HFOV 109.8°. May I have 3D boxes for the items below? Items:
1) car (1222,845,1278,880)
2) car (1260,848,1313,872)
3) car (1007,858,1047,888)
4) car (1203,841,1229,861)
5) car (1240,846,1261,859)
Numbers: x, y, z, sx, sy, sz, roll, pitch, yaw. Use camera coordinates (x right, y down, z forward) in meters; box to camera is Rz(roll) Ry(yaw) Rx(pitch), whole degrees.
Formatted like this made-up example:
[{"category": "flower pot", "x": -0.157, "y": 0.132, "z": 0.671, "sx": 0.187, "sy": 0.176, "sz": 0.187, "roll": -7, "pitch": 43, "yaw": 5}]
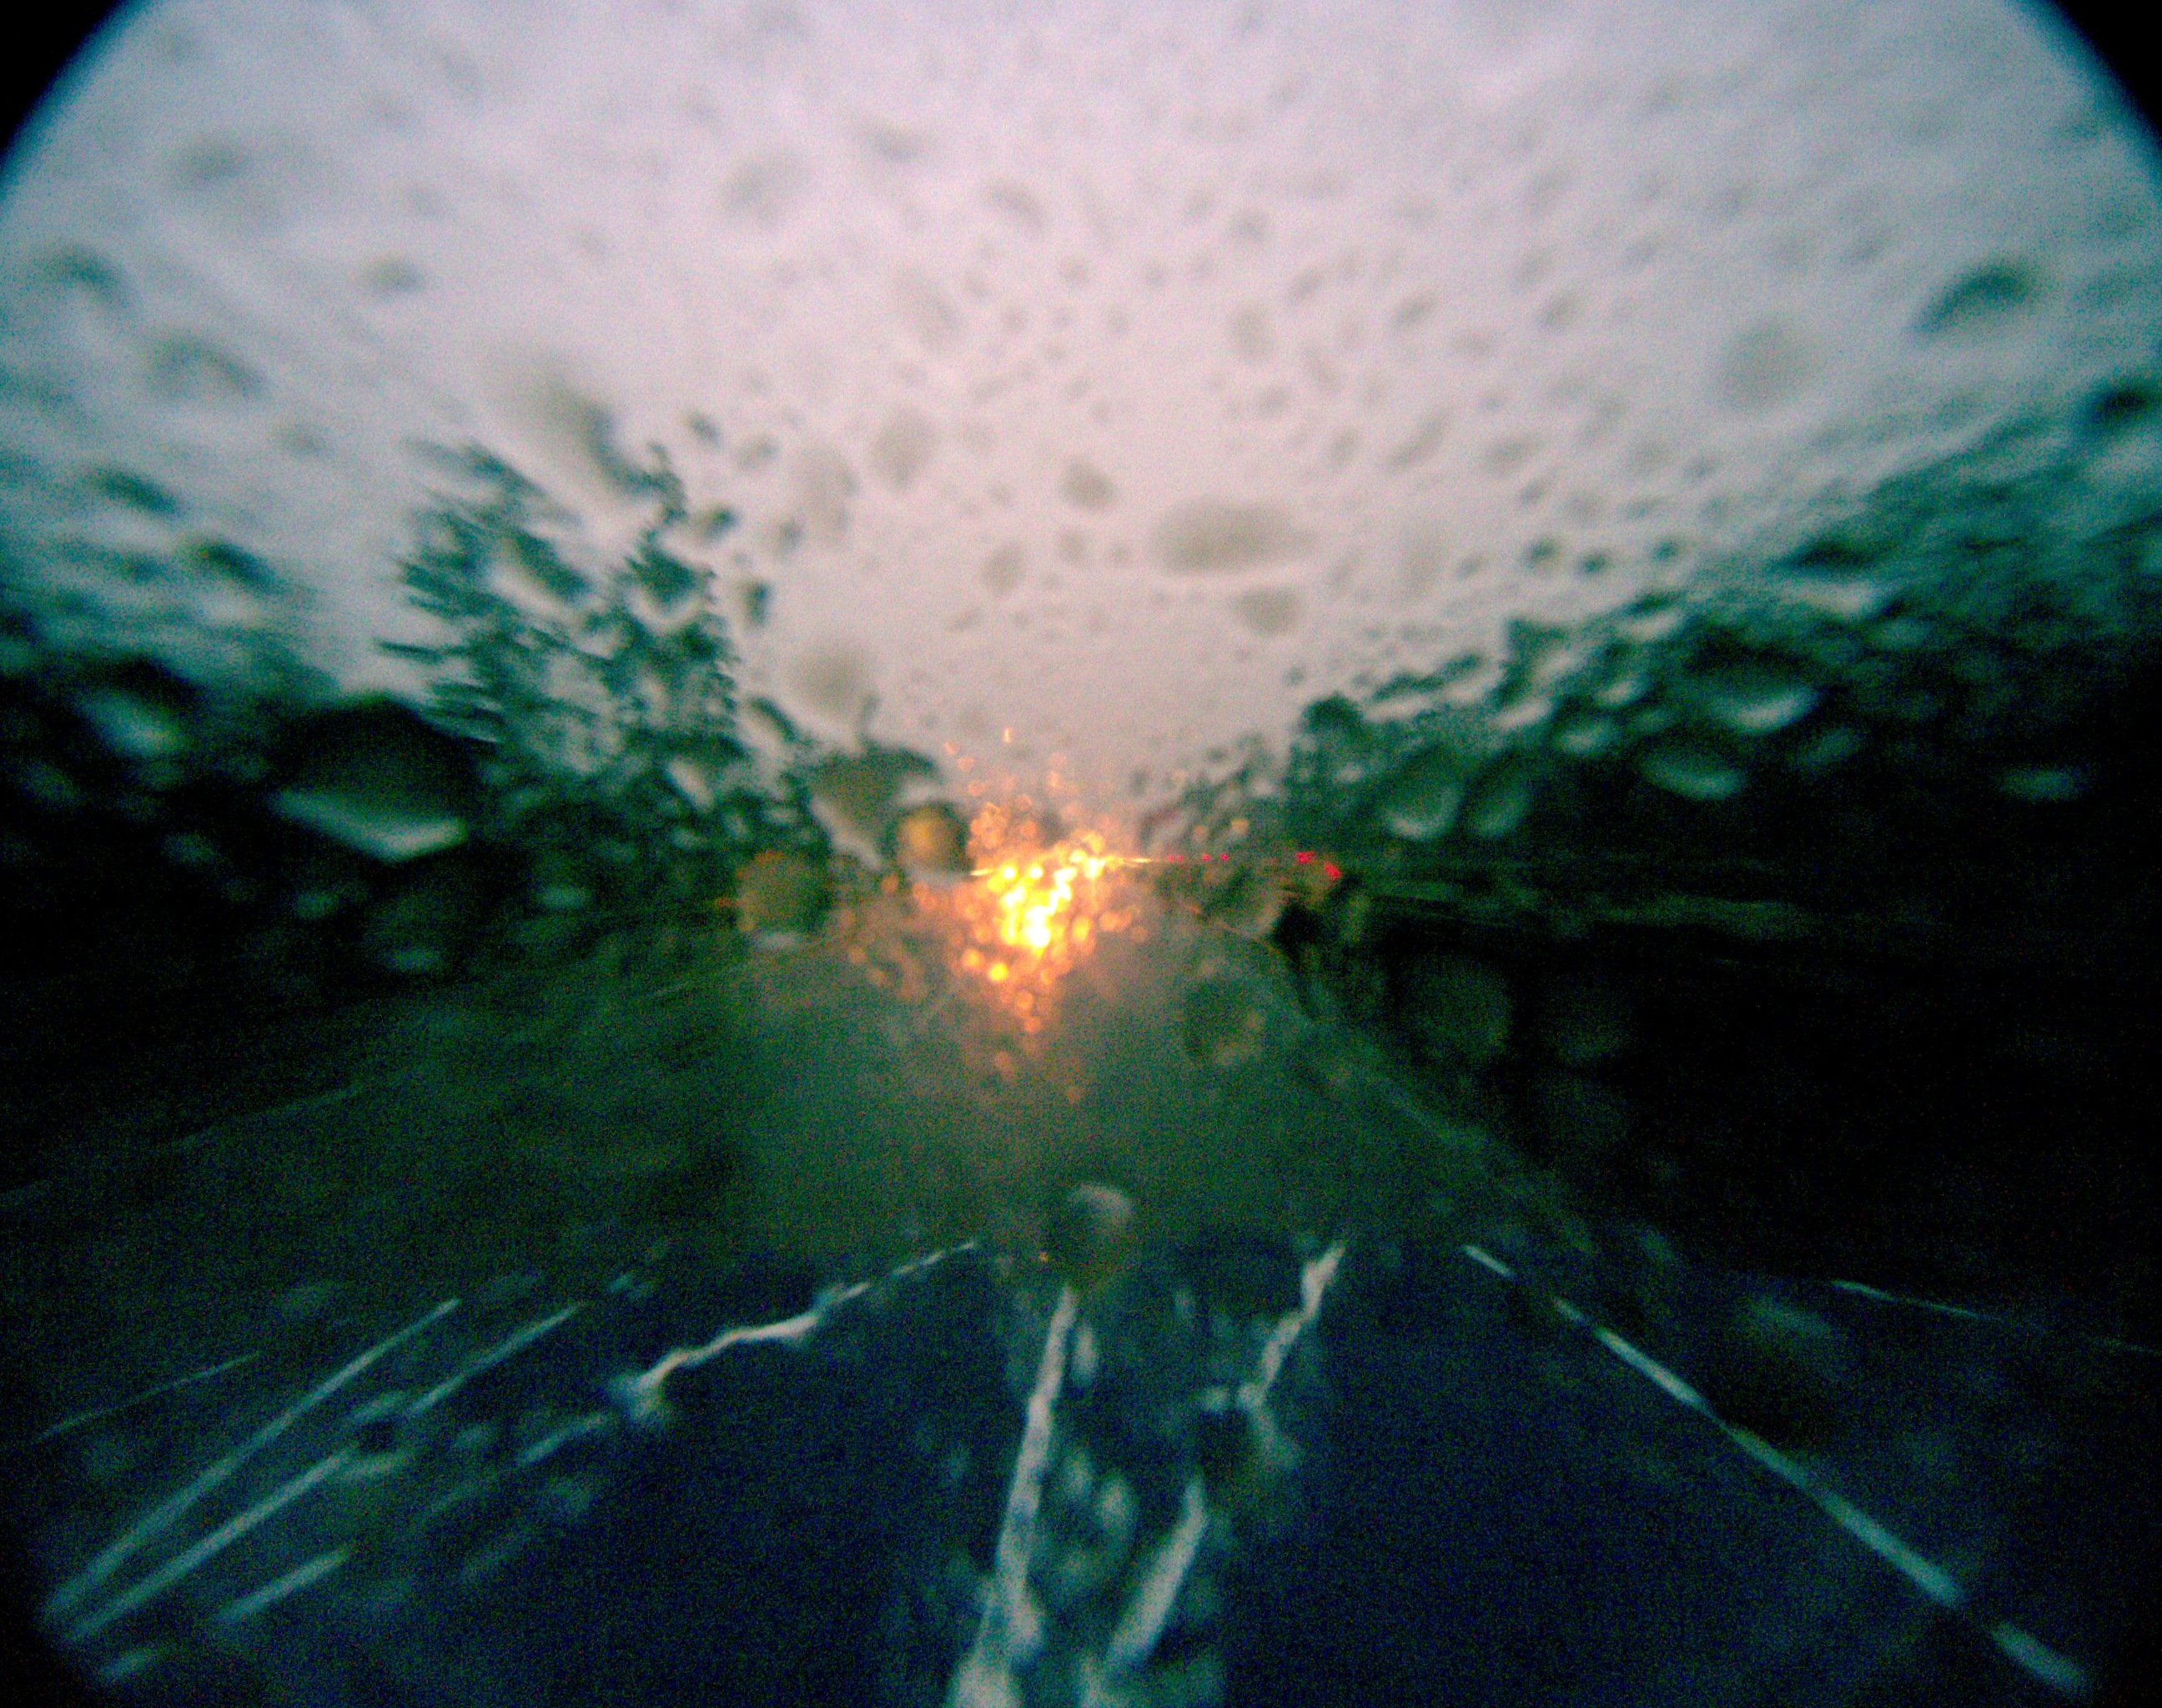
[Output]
[{"category": "car", "x": 8.080, "y": 0.353, "z": 36.715, "sx": 1.832, "sy": 1.536, "sz": 3.999, "roll": -2, "pitch": 1, "yaw": 1}, {"category": "car", "x": 11.790, "y": 0.317, "z": 43.807, "sx": 1.998, "sy": 1.277, "sz": 3.999, "roll": -2, "pitch": 1, "yaw": 1}, {"category": "car", "x": -2.832, "y": 0.977, "z": 40.668, "sx": 1.741, "sy": 1.441, "sz": 3.999, "roll": -2, "pitch": 1, "yaw": 0}, {"category": "car", "x": 13.308, "y": -0.317, "z": 75.335, "sx": 1.855, "sy": 1.873, "sz": 3.999, "roll": -2, "pitch": 1, "yaw": 1}, {"category": "car", "x": 19.590, "y": -0.223, "z": 88.058, "sx": 1.612, "sy": 1.448, "sz": 3.446, "roll": -2, "pitch": 1, "yaw": 0}]
